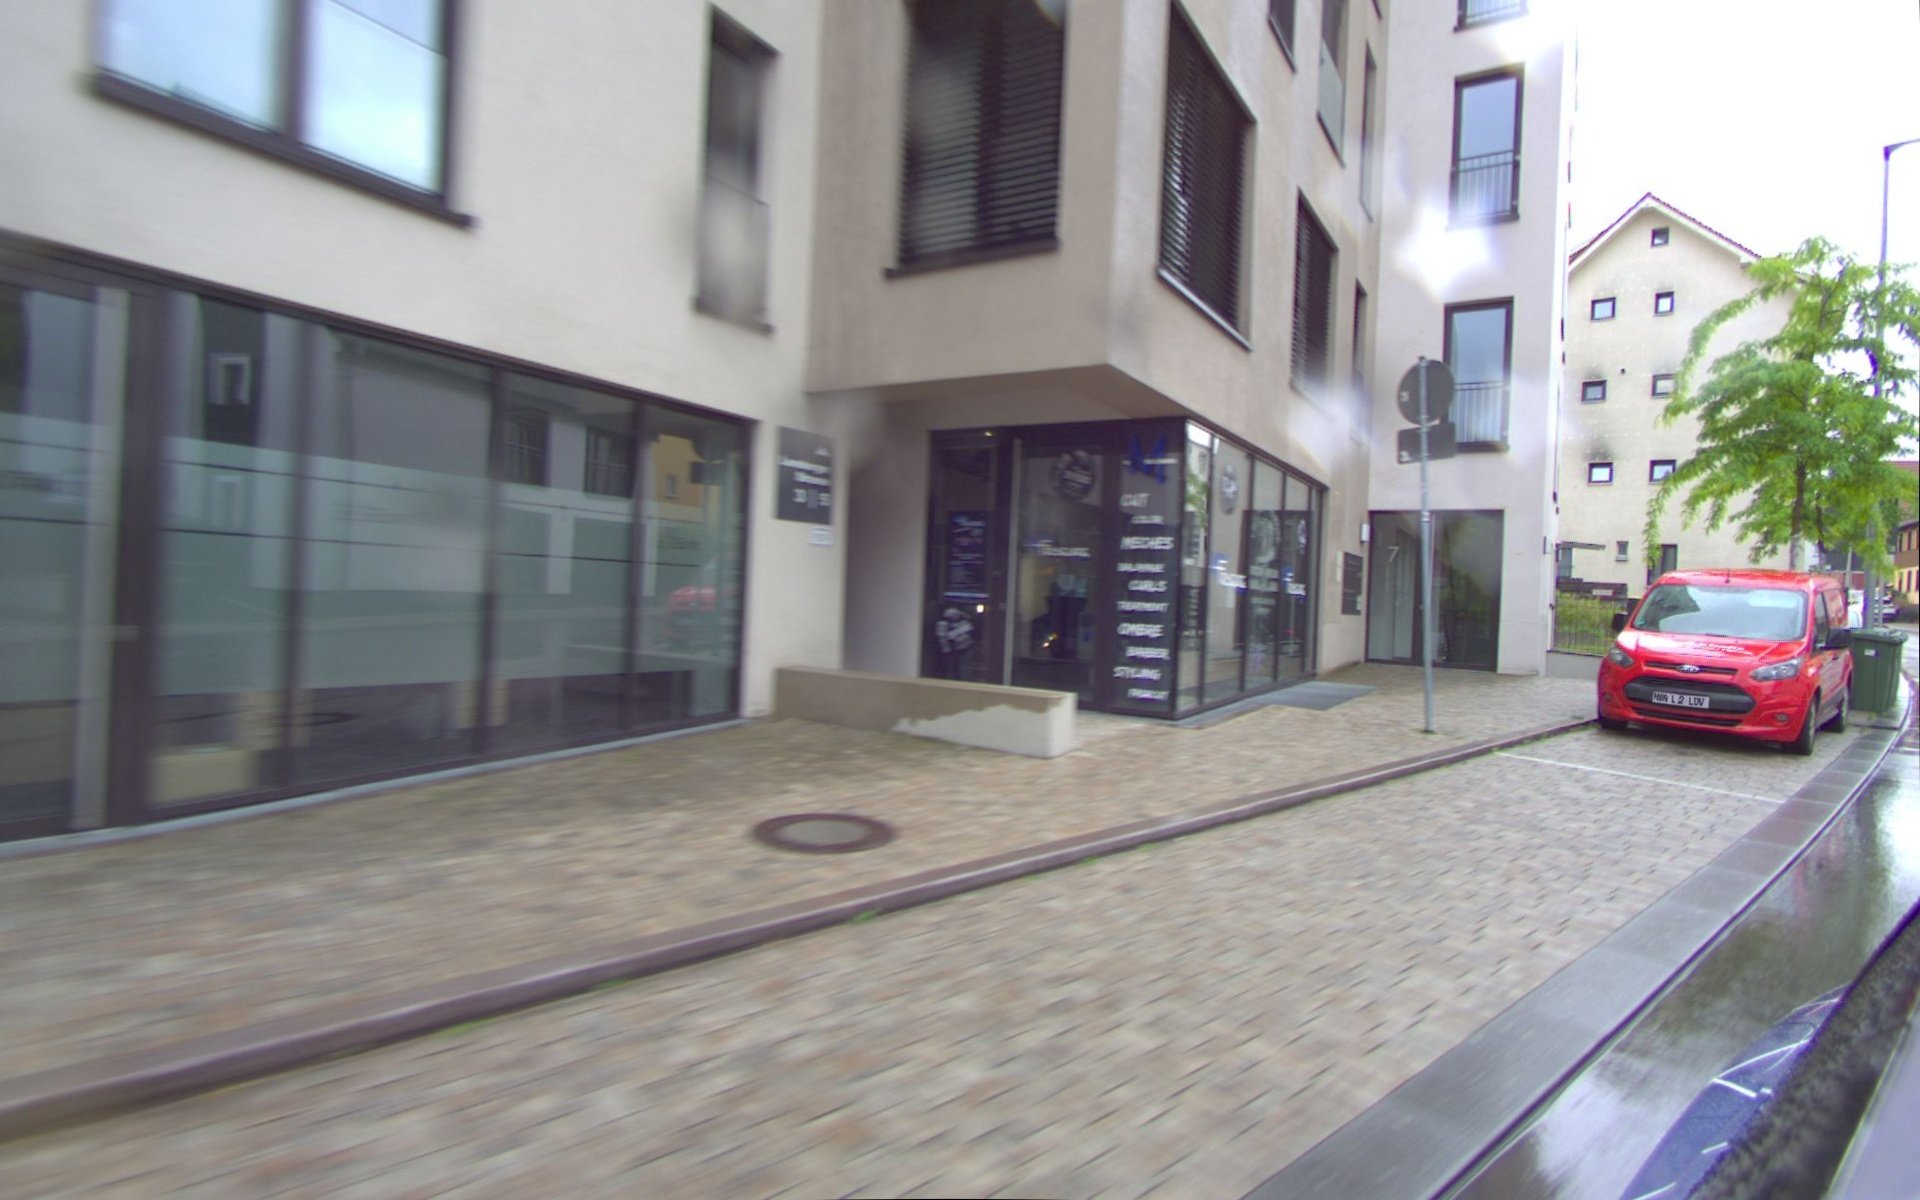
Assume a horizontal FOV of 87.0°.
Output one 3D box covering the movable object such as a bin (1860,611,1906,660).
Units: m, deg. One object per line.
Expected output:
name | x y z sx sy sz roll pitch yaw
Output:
movable object such as a bin | 23.331 0.881 25.589 0.760 1.122 0.798 6 5 42

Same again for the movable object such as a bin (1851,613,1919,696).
movable object such as a bin | 13.279 0.765 14.484 0.591 1.101 0.710 1 2 -44

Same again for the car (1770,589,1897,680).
car | 17.209 0.596 19.884 1.639 1.544 3.577 3 3 44

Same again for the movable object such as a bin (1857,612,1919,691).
movable object such as a bin | 13.861 0.755 15.059 0.709 1.101 0.592 3 2 43

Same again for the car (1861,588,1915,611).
car | 62.404 -0.073 68.097 1.985 1.463 3.954 1 2 32

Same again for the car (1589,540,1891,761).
car | 8.759 0.385 11.202 4.526 1.930 1.839 -1 4 -43

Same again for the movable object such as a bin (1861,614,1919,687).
movable object such as a bin | 15.044 0.802 16.333 0.709 1.101 0.592 3 2 43

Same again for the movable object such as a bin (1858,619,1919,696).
movable object such as a bin | 14.242 0.864 15.478 0.702 1.101 0.507 3 2 44

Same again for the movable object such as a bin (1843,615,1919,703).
movable object such as a bin | 12.419 0.773 13.636 0.591 1.101 0.710 1 2 -44

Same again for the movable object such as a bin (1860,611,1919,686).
movable object such as a bin | 14.633 0.743 15.886 0.709 1.101 0.592 3 2 43

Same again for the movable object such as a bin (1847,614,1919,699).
movable object such as a bin | 12.858 0.768 14.067 0.591 1.101 0.710 1 2 -44

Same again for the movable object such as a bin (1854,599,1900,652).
movable object such as a bin | 24.077 0.661 26.589 0.795 1.263 1.225 6 5 41
